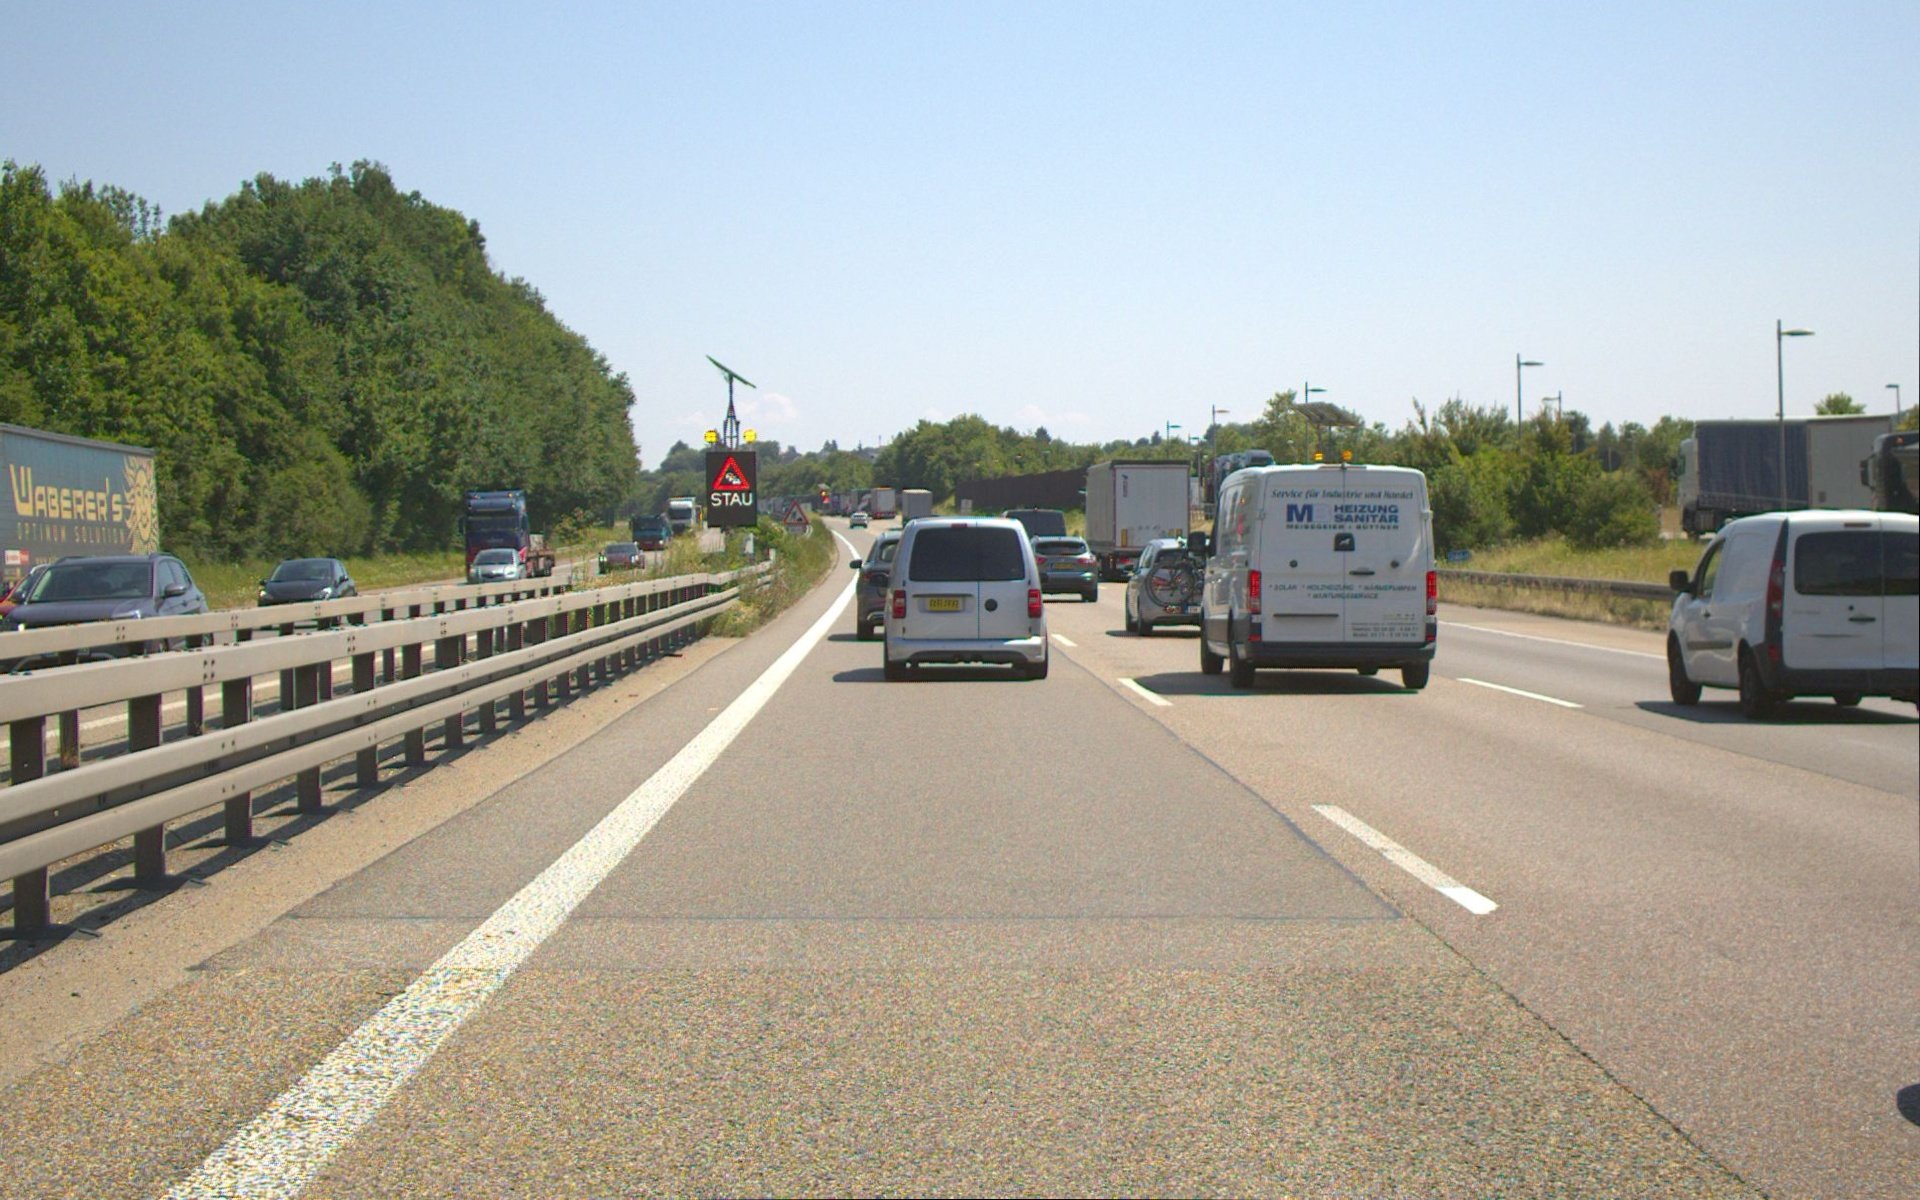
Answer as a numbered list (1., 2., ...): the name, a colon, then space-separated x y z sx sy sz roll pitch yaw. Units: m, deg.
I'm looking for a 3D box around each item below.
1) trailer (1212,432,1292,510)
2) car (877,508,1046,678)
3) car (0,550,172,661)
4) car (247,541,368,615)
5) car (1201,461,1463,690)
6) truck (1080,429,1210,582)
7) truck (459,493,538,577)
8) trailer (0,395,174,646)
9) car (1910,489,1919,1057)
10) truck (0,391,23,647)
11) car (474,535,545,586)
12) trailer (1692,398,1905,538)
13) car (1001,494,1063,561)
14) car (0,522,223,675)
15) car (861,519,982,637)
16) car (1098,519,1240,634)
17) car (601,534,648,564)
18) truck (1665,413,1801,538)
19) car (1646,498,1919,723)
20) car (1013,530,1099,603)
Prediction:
1. trailer: 17.282 -7.575 204.803 2.605 4.243 18.424 1 1 -2
2. car: 0.015 -0.109 38.449 1.745 1.758 4.089 -1 1 0
3. car: -13.523 0.048 52.910 1.782 1.525 4.385 -4 1 -1
4. car: -14.153 -0.496 74.760 1.712 1.463 4.146 -3 1 1
5. car: 3.845 -0.294 36.489 2.181 2.246 5.363 0 1 0
6. truck: 6.285 -3.212 118.964 3.788 4.982 12.519 1 1 0
7. truck: -20.021 -2.820 149.359 2.996 3.546 3.118 -1 1 -1
8. trailer: -18.093 -1.483 66.194 3.174 4.326 13.814 -1 1 -2
9. car: 3.788 0.558 7.163 1.950 1.630 5.601 1 1 -1
10. truck: -17.746 -1.328 57.507 3.174 4.326 3.514 -1 1 -2
11. car: -14.790 -1.312 113.024 1.782 1.525 3.884 -4 1 -1
12. trailer: 26.179 -4.002 108.273 3.052 4.069 14.259 1 1 -1
13. car: 2.082 -2.117 100.389 1.674 1.885 4.089 -1 1 0
14. car: -9.725 -0.047 39.209 1.782 1.619 4.000 -1 1 -1
15. car: -0.550 -0.359 52.726 1.745 1.695 4.089 -1 1 0
16. car: 3.291 -0.398 54.835 1.976 1.727 4.089 -1 1 0
17. car: -15.973 -2.460 163.929 1.769 1.330 4.922 -2 1 -1
18. truck: 26.085 -4.165 116.306 3.052 4.069 6.398 1 1 -1
19. car: 7.580 0.043 30.592 1.950 1.831 4.179 -1 1 -2
20. car: 2.284 -0.824 82.692 1.902 1.666 4.089 -1 1 0
